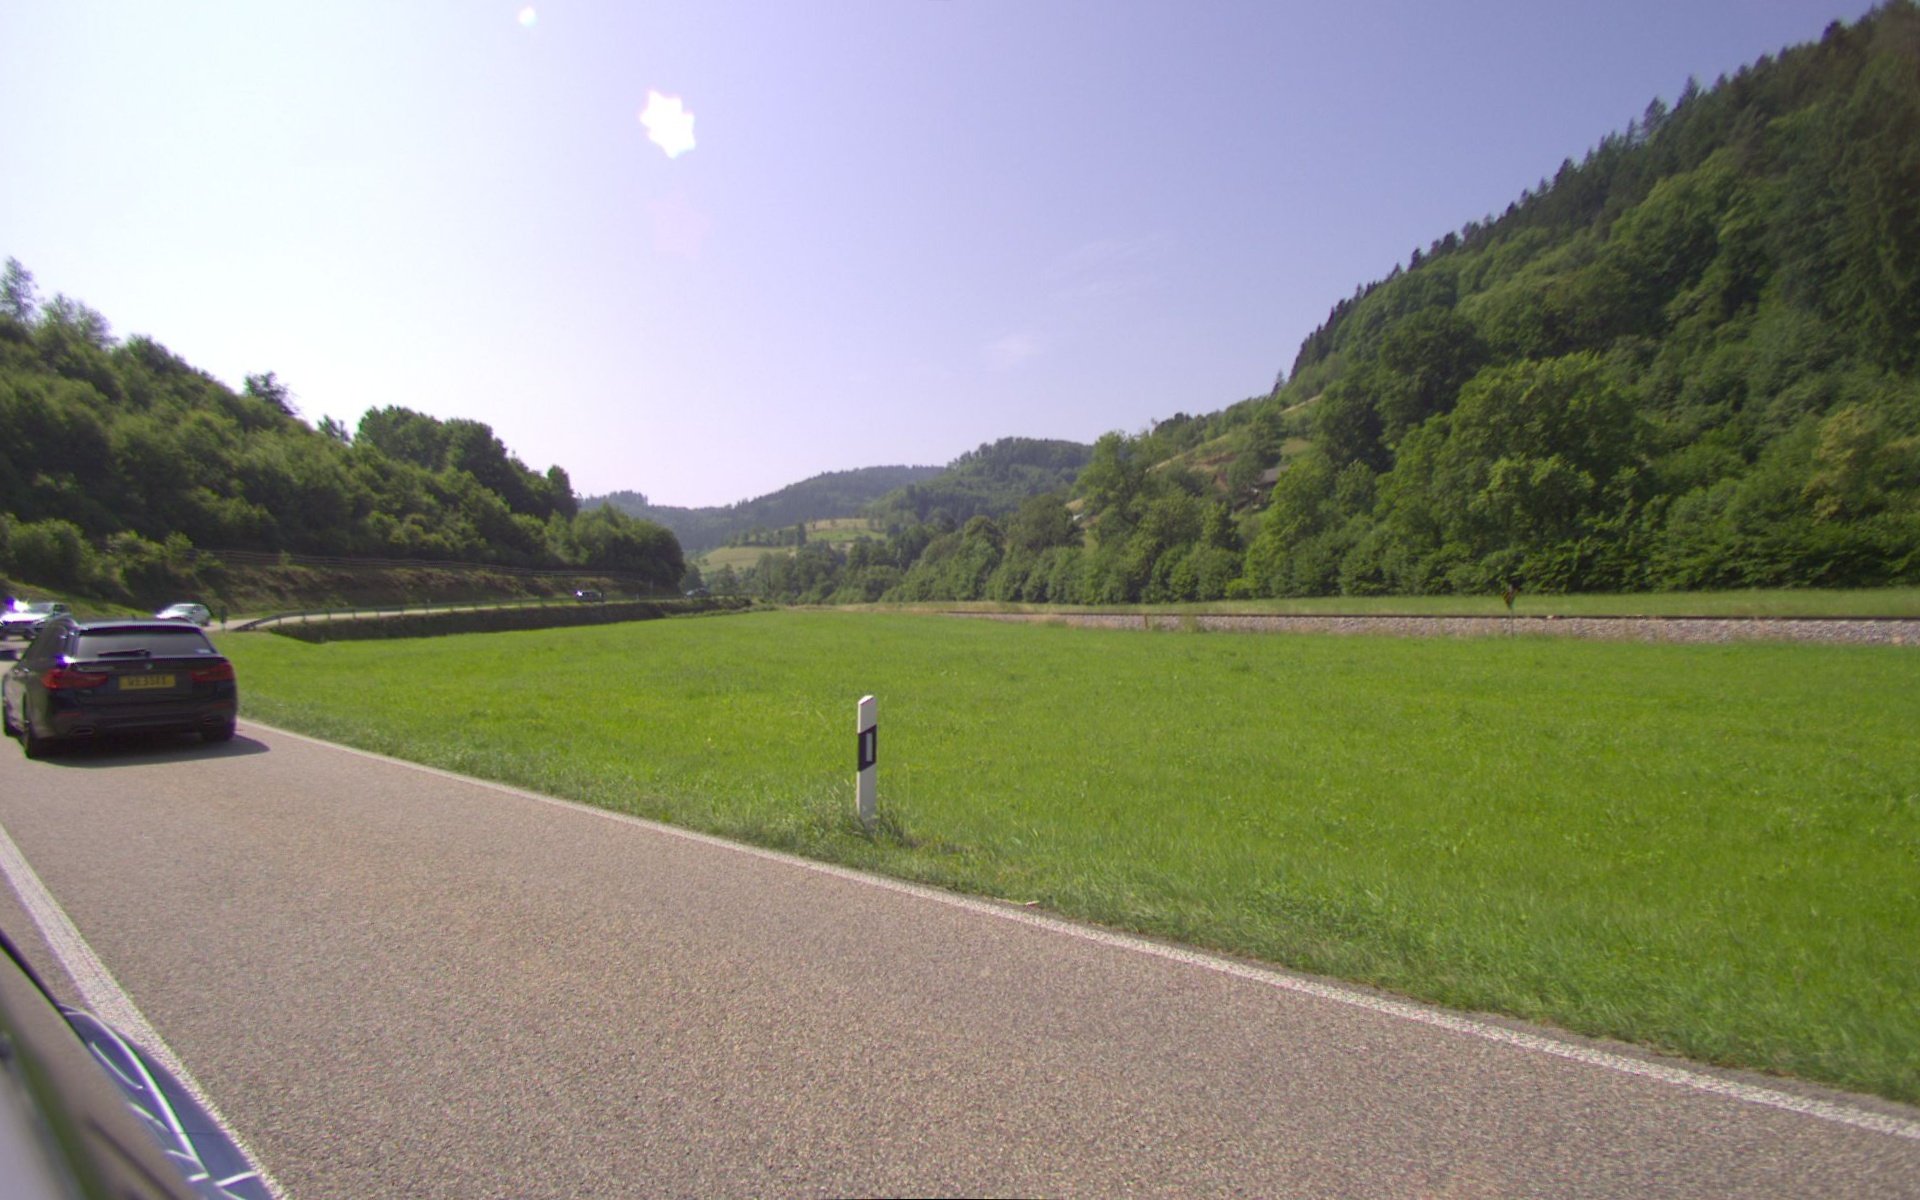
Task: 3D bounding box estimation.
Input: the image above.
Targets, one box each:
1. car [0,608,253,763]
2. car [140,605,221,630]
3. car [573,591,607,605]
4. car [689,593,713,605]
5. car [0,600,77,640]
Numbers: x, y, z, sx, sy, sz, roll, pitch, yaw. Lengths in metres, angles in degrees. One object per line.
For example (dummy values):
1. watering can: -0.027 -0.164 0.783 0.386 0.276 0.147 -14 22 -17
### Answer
1. car: -10.167 0.884 12.114 4.510 1.482 1.895 -2 -1 43
2. car: -50.254 1.135 65.363 2.113 1.502 4.681 -1 -1 -9
3. car: -45.755 -0.204 125.321 1.862 1.599 4.578 -1 -1 11
4. car: -40.221 -0.105 157.146 1.933 1.753 4.884 -1 -1 8
5. car: -44.311 0.968 48.345 2.082 1.828 4.470 -1 -1 -26
